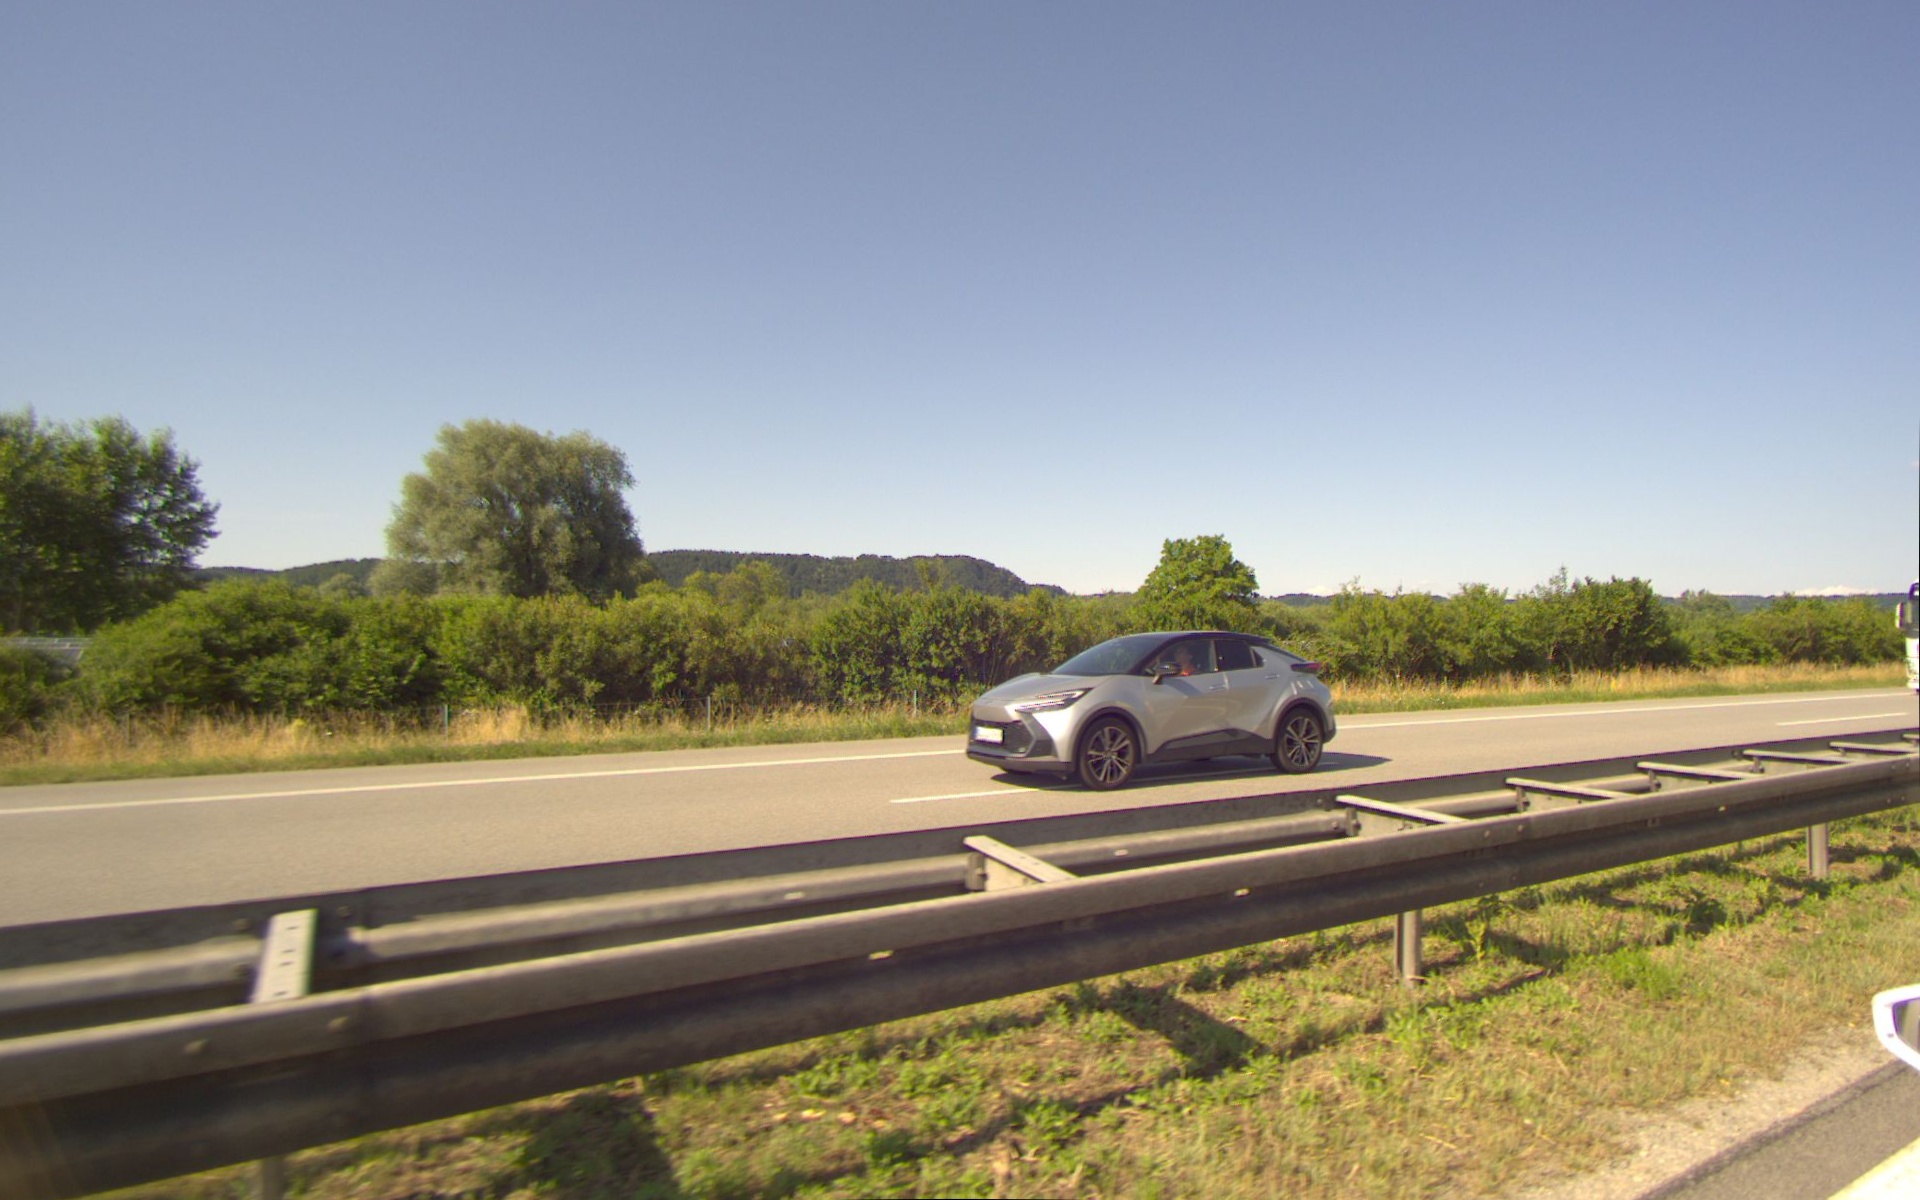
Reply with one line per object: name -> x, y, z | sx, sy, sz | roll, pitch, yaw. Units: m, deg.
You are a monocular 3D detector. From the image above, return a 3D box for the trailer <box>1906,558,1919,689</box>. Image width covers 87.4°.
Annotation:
trailer -> 36.862, 0.841, 34.085 | 14.434, 4.111, 3.169 | 2, -4, -32

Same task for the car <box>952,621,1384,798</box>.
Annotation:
car -> 2.373, 1.115, 11.083 | 4.711, 1.602, 1.718 | 2, -5, -30

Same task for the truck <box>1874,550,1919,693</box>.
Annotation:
truck -> 31.000, 0.665, 30.430 | 6.315, 4.167, 3.154 | 2, -3, -31
